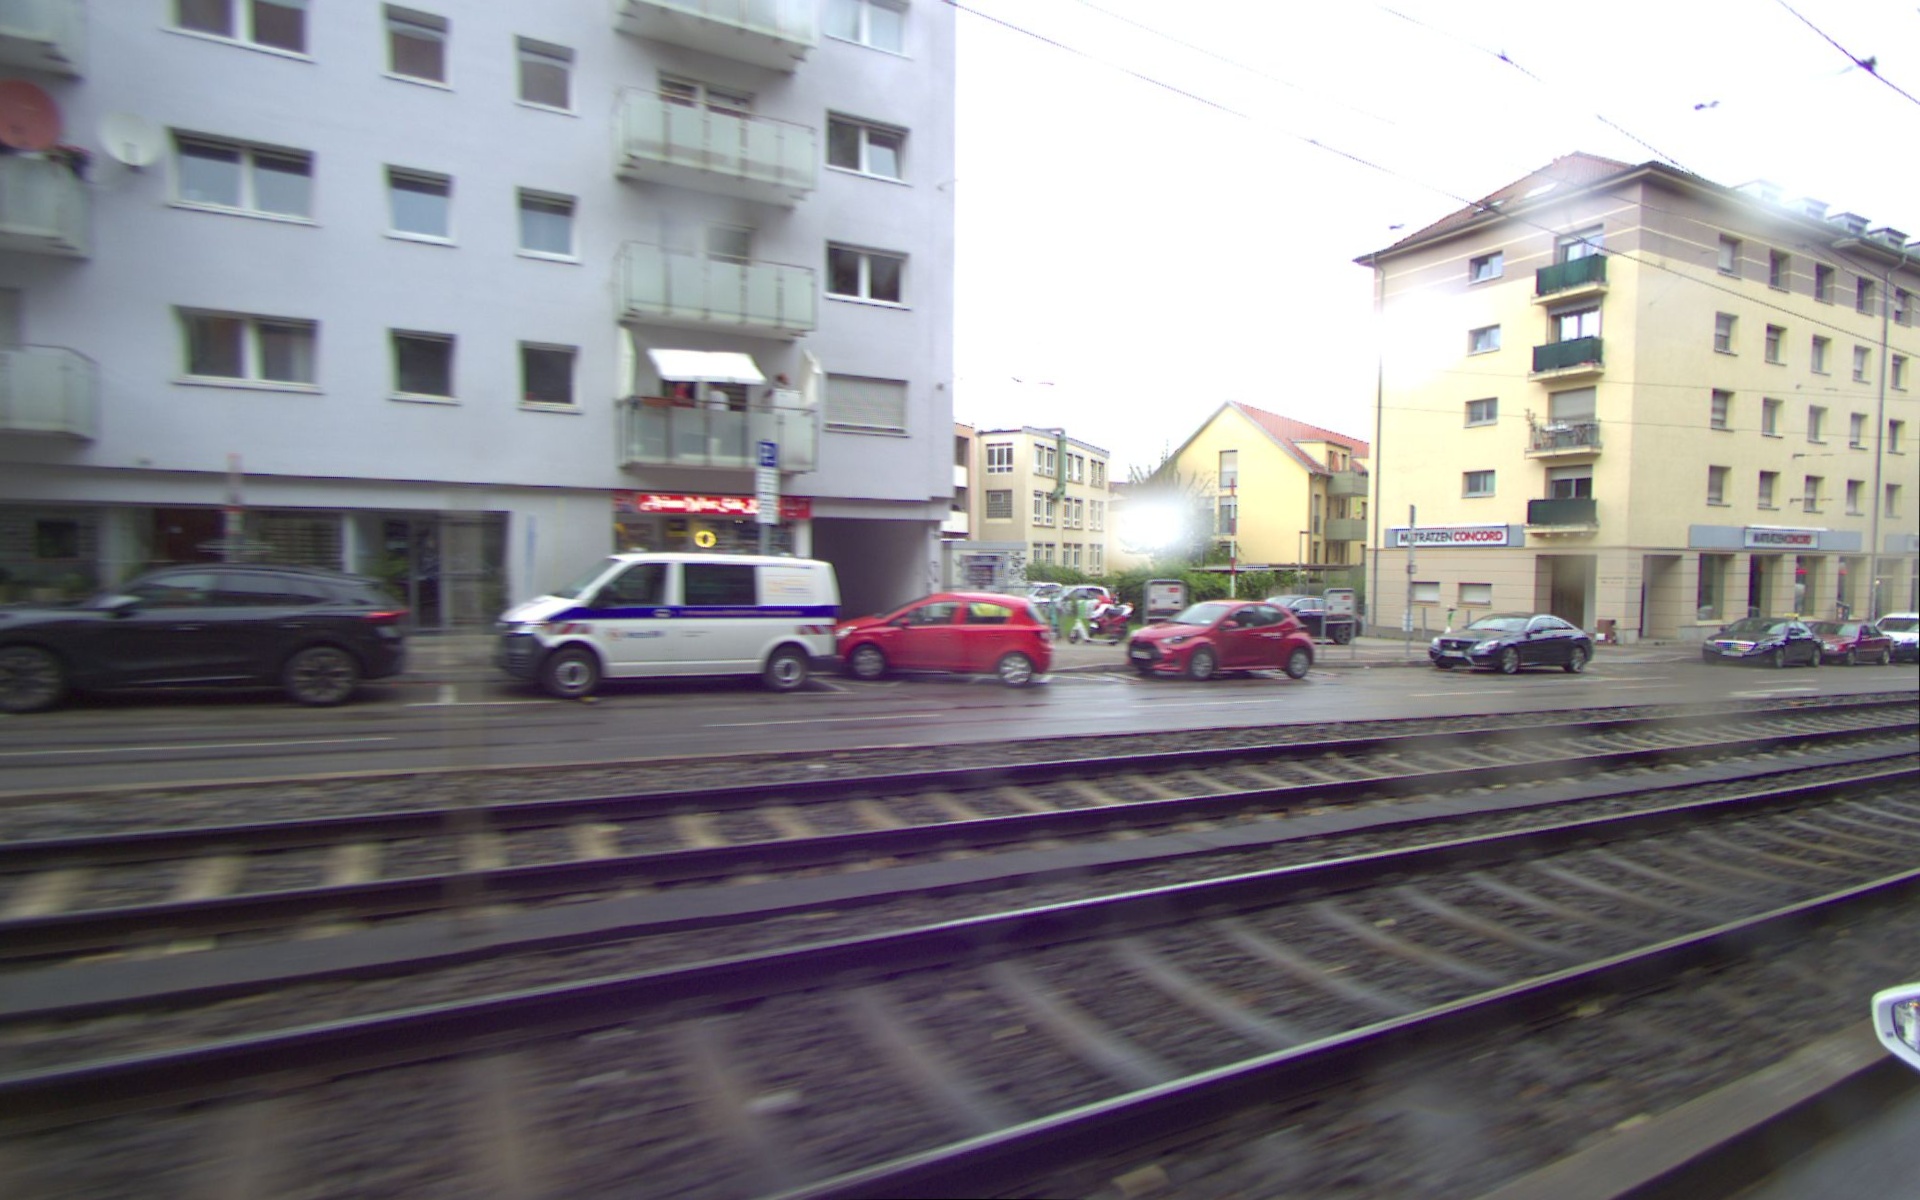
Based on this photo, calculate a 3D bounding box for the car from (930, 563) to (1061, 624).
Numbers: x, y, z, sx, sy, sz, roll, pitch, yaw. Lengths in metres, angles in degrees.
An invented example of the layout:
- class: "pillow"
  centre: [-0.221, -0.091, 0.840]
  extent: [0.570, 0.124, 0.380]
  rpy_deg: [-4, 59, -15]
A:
- class: "car"
  centre: [1.156, -0.197, 32.328]
  extent: [3.950, 1.846, 1.679]
  rpy_deg: [0, 0, -28]

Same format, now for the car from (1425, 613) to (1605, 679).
- class: "car"
  centre: [13.395, 1.098, 24.191]
  extent: [4.568, 1.414, 1.671]
  rpy_deg: [2, 0, -30]

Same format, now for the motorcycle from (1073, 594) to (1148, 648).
- class: "motorcycle"
  centre: [3.797, 0.531, 25.296]
  extent: [1.764, 1.216, 0.636]
  rpy_deg: [3, 3, -30]

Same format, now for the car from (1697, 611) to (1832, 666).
- class: "car"
  centre: [24.750, 1.188, 30.857]
  extent: [4.940, 1.528, 1.840]
  rpy_deg: [2, 0, -34]

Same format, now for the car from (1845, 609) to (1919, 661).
- class: "car"
  centre: [34.293, 1.272, 36.427]
  extent: [4.404, 1.740, 1.859]
  rpy_deg: [2, 0, -28]

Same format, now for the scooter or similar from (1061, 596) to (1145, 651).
- class: "scooter or similar"
  centre: [3.419, 0.568, 24.113]
  extent: [1.860, 1.216, 0.623]
  rpy_deg: [2, 3, -9]

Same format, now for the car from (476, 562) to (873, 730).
- class: "car"
  centre: [-4.124, 0.597, 14.724]
  extent: [5.237, 2.036, 2.060]
  rpy_deg: [1, 4, -29]

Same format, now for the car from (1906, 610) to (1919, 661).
- class: "car"
  centre: [39.648, 1.493, 39.259]
  extent: [5.386, 1.930, 1.987]
  rpy_deg: [2, 2, -25]

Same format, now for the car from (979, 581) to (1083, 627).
- class: "car"
  centre: [2.918, 0.179, 41.182]
  extent: [3.849, 1.655, 1.663]
  rpy_deg: [3, 1, -24]

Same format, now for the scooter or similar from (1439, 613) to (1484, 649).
- class: "scooter or similar"
  centre: [16.634, 1.013, 33.313]
  extent: [0.375, 1.127, 1.282]
  rpy_deg: [1, 2, -35]

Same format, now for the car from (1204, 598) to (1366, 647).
- class: "car"
  centre: [9.670, 0.670, 29.909]
  extent: [4.412, 1.321, 1.867]
  rpy_deg: [1, 1, -22]

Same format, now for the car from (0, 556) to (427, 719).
- class: "car"
  centre: [-8.795, 0.410, 11.913]
  extent: [4.311, 1.673, 1.725]
  rpy_deg: [2, 1, -29]

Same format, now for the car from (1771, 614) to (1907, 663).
- class: "car"
  centre: [29.444, 1.295, 33.632]
  extent: [4.772, 1.451, 1.843]
  rpy_deg: [2, 2, -29]

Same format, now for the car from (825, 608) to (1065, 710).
- class: "car"
  centre: [-0.181, 0.962, 17.292]
  extent: [3.902, 1.453, 1.786]
  rpy_deg: [2, 1, 6]

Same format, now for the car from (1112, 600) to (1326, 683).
- class: "car"
  centre: [5.135, 0.812, 19.842]
  extent: [4.023, 1.471, 1.646]
  rpy_deg: [2, 0, -28]

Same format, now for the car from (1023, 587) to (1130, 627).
- class: "car"
  centre: [4.555, 0.282, 39.274]
  extent: [3.848, 1.419, 1.664]
  rpy_deg: [2, 0, -23]
